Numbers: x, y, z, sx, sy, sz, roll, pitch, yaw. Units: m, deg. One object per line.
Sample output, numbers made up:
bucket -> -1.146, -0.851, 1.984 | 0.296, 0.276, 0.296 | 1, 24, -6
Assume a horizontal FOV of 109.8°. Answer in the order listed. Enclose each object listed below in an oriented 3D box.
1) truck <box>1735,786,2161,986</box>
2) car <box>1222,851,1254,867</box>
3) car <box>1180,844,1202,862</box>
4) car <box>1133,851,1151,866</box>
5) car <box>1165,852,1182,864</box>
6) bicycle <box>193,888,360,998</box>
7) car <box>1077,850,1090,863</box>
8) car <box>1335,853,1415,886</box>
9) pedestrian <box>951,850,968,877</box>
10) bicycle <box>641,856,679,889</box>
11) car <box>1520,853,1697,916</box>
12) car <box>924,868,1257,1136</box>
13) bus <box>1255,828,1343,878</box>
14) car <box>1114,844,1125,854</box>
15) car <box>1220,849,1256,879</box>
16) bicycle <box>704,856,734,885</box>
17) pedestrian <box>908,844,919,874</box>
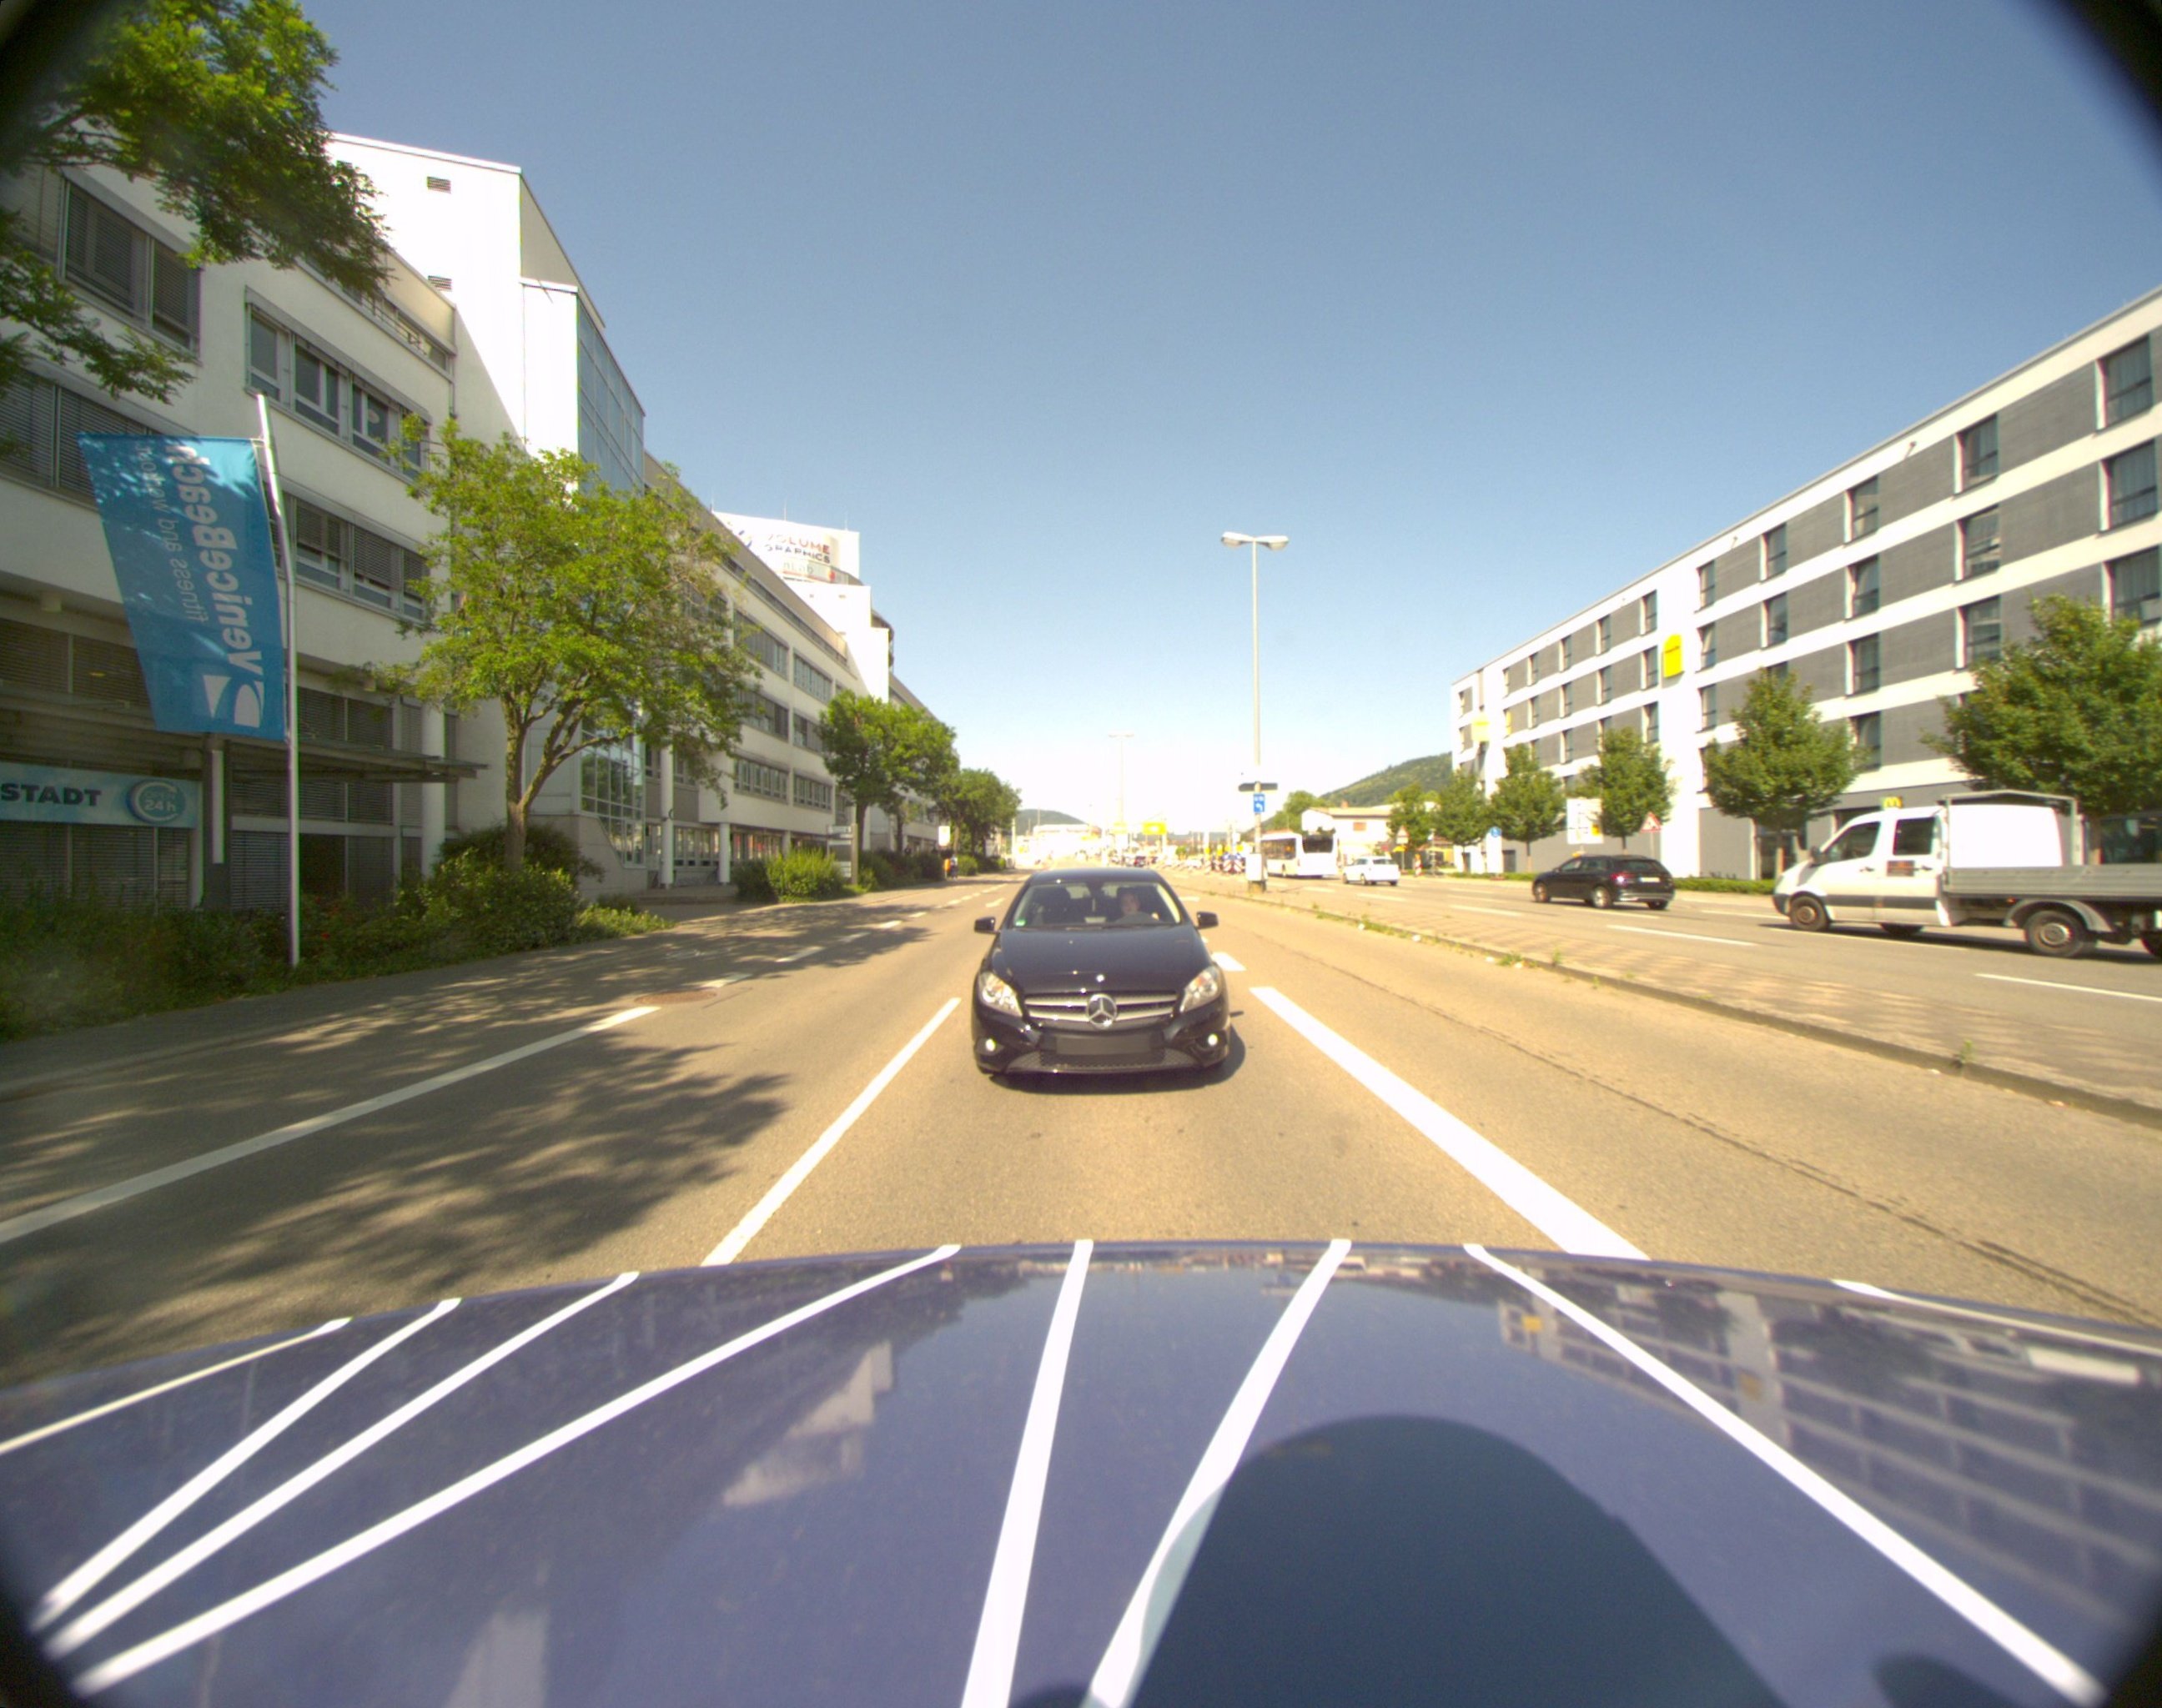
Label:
truck -> 14.880, 0.390, 12.614 | 2.363, 2.531, 6.435 | 2, 1, 0
car -> 14.639, 0.459, 71.106 | 1.998, 1.424, 4.891 | -1, 0, 0
car -> 14.057, -0.106, 97.294 | 1.999, 2.000, 4.002 | 2, -5, -3
car -> 6.855, 0.447, 85.876 | 1.889, 1.608, 4.135 | -1, 0, 3
car -> 13.786, 0.578, 113.241 | 1.719, 1.609, 3.590 | -1, 0, -5
bicycle -> -11.170, 1.180, 10.647 | 0.506, 1.321, 1.883 | 0, 0, -7
car -> 0.509, 0.407, 134.172 | 1.998, 2.002, 4.000 | -2, 1, 3
car -> 14.819, 0.737, 38.558 | 1.999, 1.477, 4.410 | 2, 1, -5
pedestrian -> -8.762, 0.691, 54.662 | 0.942, 1.875, 1.289 | 2, 1, 1
bicycle -> -17.783, 0.749, 32.157 | 0.506, 1.346, 1.884 | -1, 0, 1
car -> 15.176, 0.800, 22.235 | 1.999, 1.569, 4.411 | -1, 1, -2
car -> 0.095, 0.900, 6.733 | 1.905, 1.431, 4.693 | -1, 0, 1
bus -> 14.940, -0.098, 53.288 | 2.745, 3.061, 11.974 | 1, 0, 0
car -> 8.245, -1.048, 162.786 | 1.998, 2.002, 3.999 | -2, 1, 1
car -> 11.190, 0.672, 54.358 | 1.679, 2.002, 4.164 | -2, 1, 1
bicycle -> -17.407, 0.793, 36.551 | 0.506, 1.346, 1.884 | -1, 0, 1
pedestrian -> -13.982, 0.418, 63.278 | 0.717, 2.534, 0.716 | -1, 1, -1
